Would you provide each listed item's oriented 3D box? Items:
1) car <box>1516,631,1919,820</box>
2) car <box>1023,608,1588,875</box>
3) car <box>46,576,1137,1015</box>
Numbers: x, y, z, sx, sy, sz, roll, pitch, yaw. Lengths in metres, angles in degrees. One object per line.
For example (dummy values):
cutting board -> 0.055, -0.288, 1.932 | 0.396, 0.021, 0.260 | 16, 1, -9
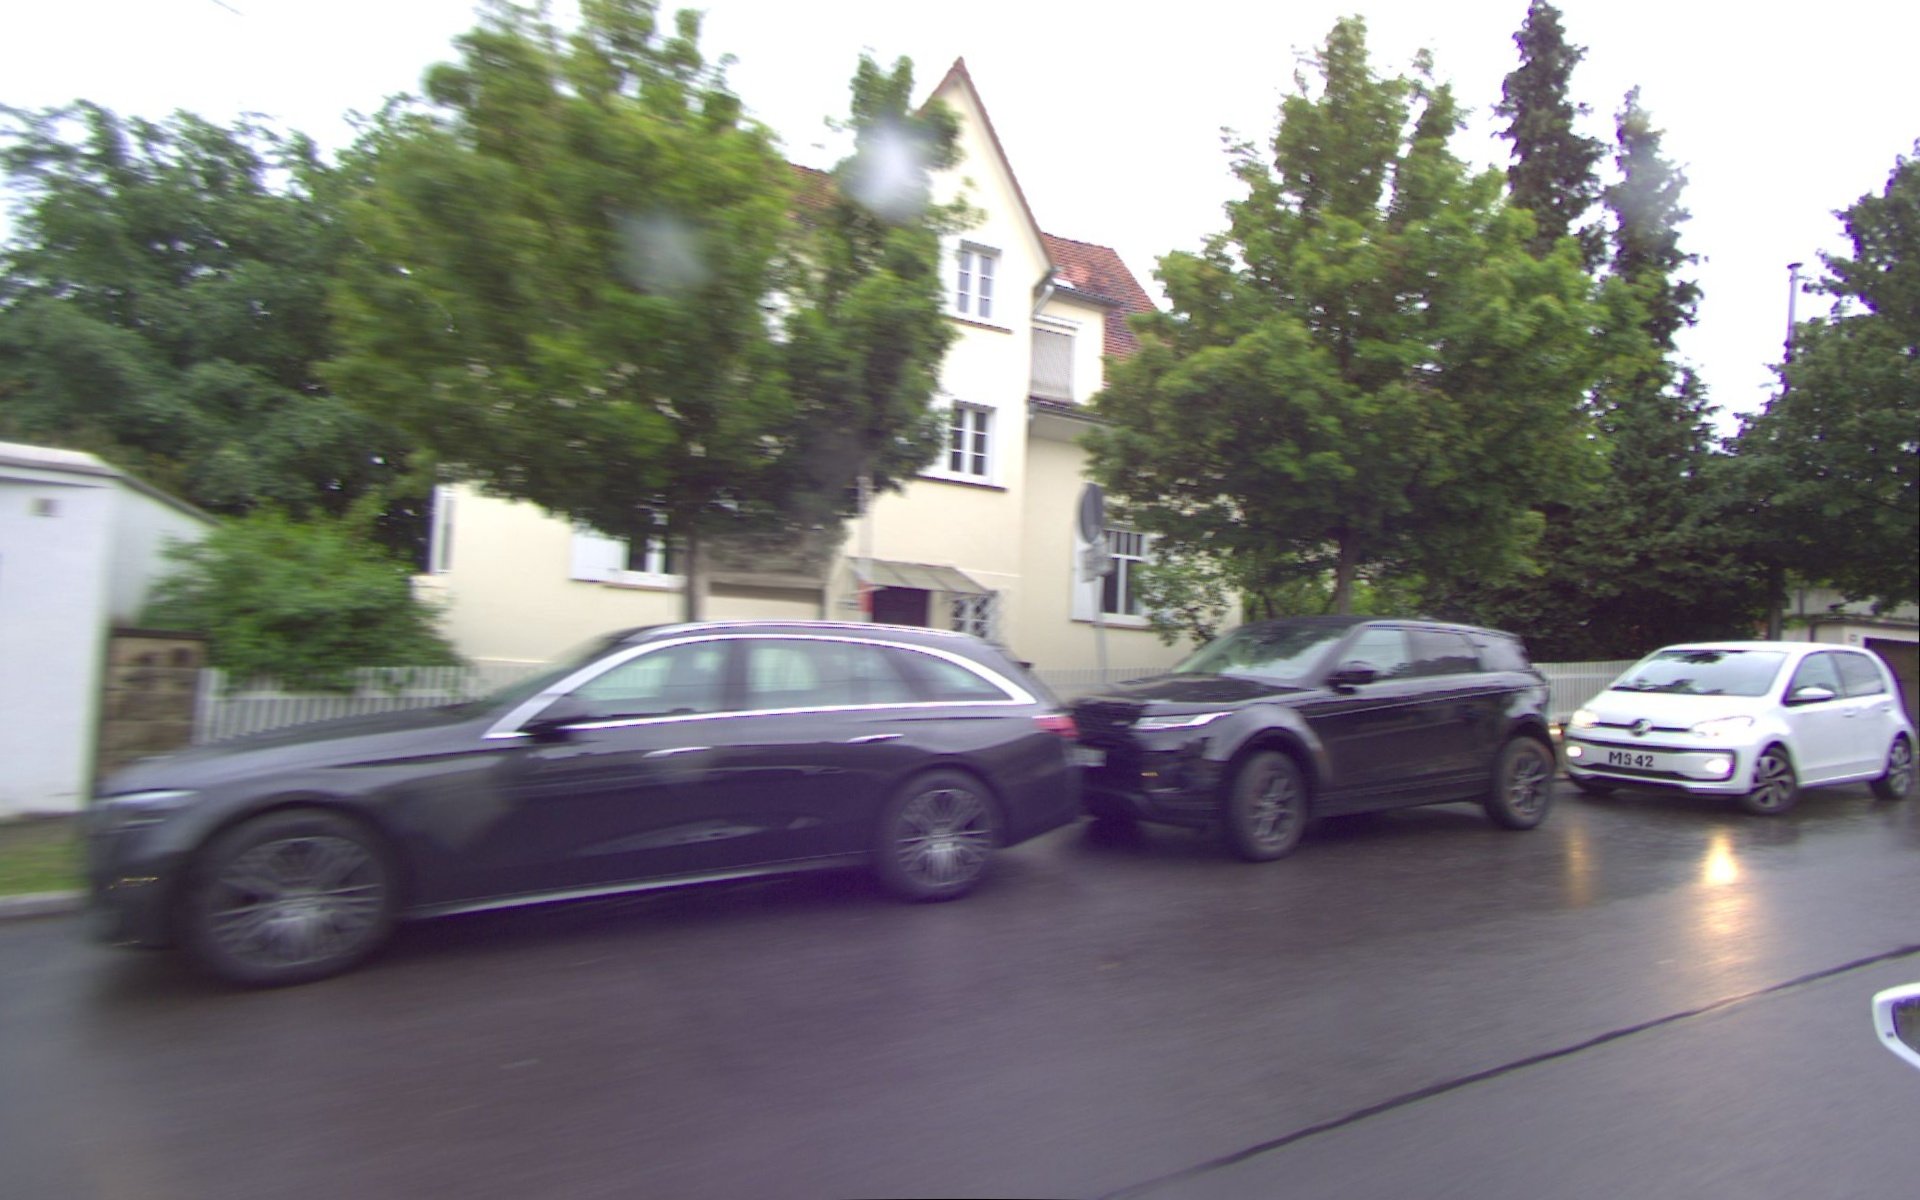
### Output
car -> 7.421, 1.042, 9.590 | 3.946, 1.486, 1.728 | 1, -2, -25
car -> 2.697, 0.904, 7.646 | 4.157, 1.565, 1.727 | 2, -2, -28
car -> -1.529, 0.783, 5.563 | 4.843, 1.565, 1.860 | 2, -2, -28
